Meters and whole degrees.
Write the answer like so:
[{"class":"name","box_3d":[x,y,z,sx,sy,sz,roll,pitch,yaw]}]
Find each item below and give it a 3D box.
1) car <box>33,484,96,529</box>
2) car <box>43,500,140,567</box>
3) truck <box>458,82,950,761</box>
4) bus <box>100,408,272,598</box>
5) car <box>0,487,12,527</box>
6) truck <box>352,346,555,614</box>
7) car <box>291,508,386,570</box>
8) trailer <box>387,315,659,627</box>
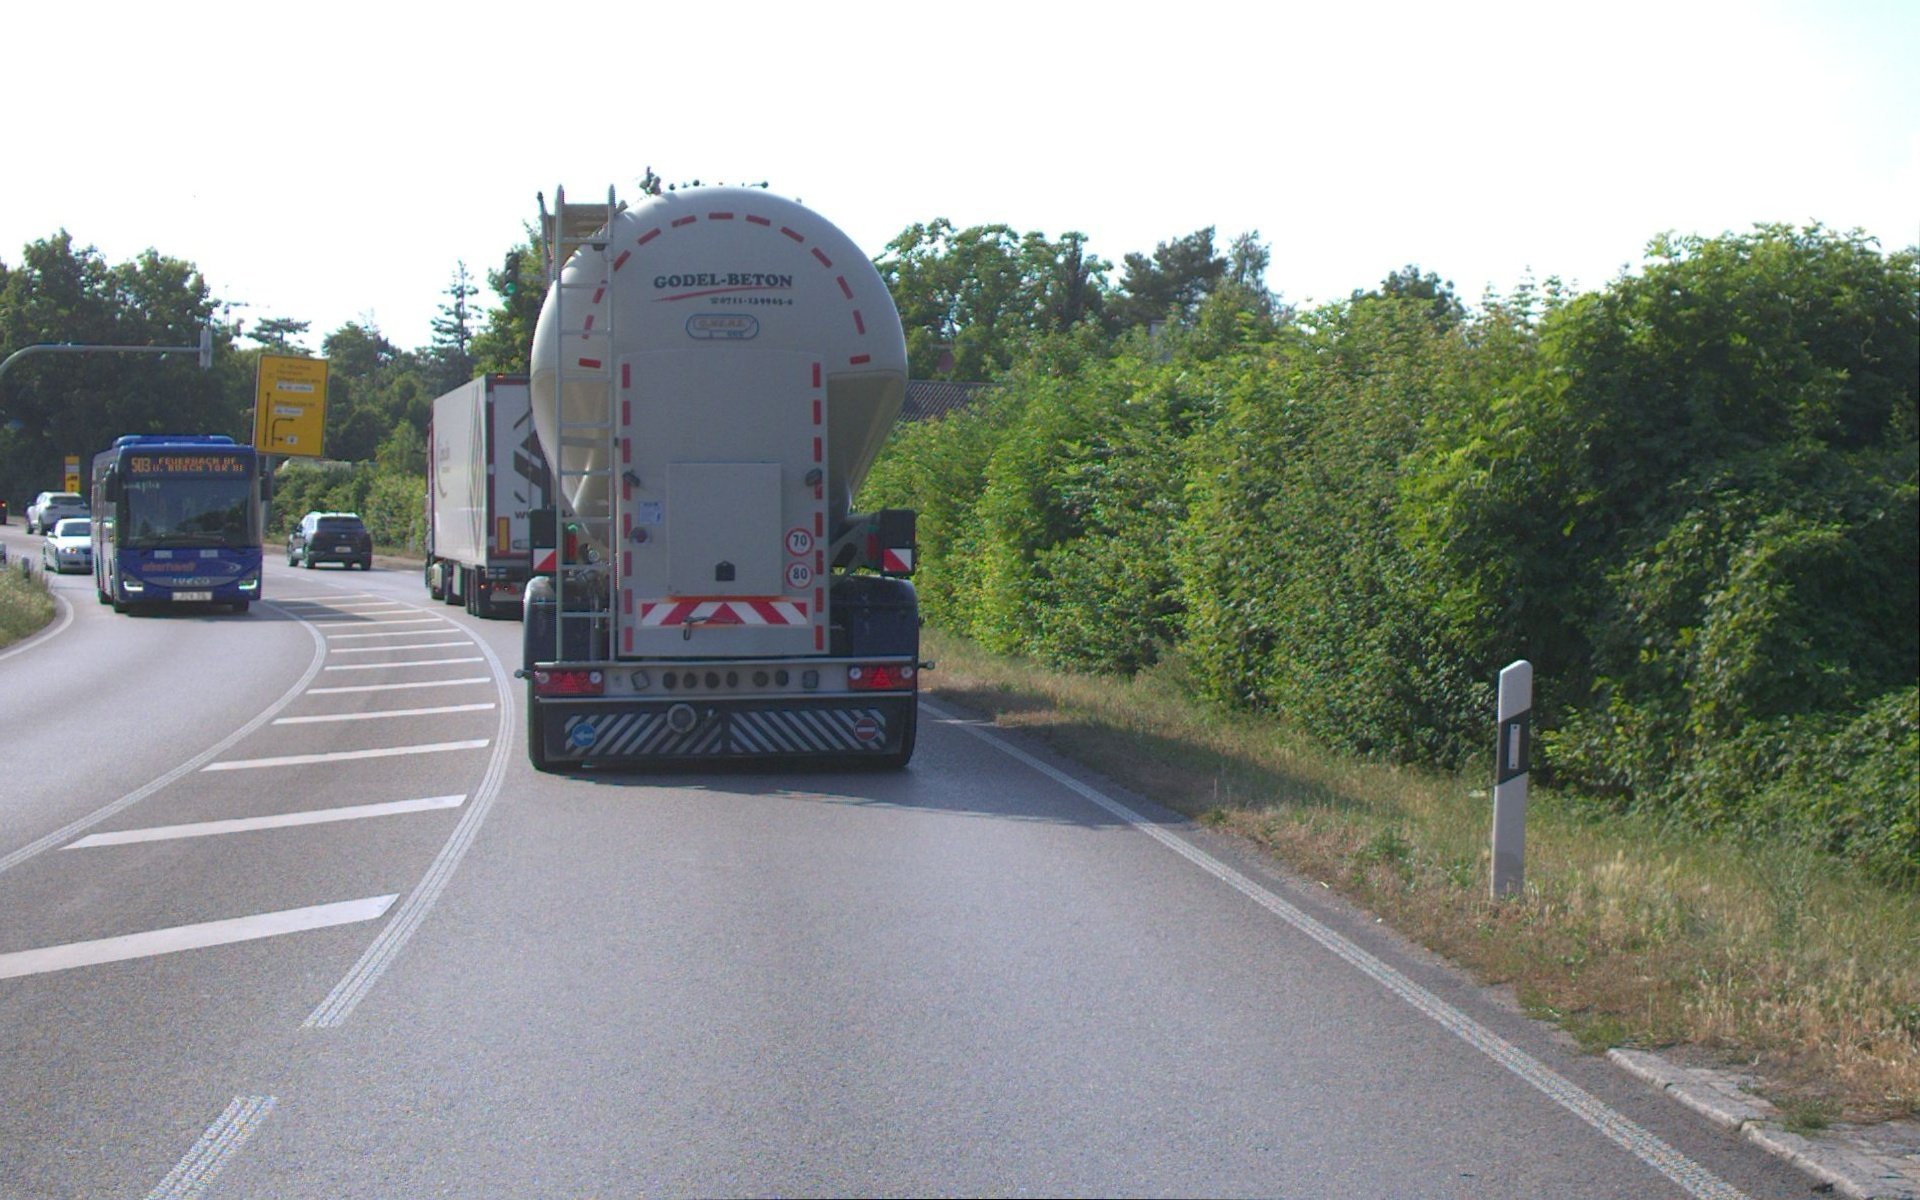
[{"class":"car","box_3d":[-34.556,-3.586,132.672,1.841,1.650,4.001,1,0,-22]},{"class":"car","box_3d":[-22.386,-1.693,88.526,1.841,1.650,4.001,1,0,-22]},{"class":"truck","box_3d":[-2.120,-1.133,27.219,2.975,4.161,11.664,1,0,-5]},{"class":"bus","box_3d":[-14.718,-1.705,64.750,2.793,3.170,12.130,1,0,-14]},{"class":"car","box_3d":[-42.035,-4.026,148.805,1.519,1.650,3.873,1,0,-22]},{"class":"truck","box_3d":[-9.899,-2.232,66.636,2.962,4.870,6.432,1,0,-16]},{"class":"car","box_3d":[-17.162,-1.664,94.796,1.993,1.650,4.001,1,0,-18]},{"class":"trailer","box_3d":[-7.728,-2.078,59.421,2.963,4.865,10.291,1,0,-16]}]
